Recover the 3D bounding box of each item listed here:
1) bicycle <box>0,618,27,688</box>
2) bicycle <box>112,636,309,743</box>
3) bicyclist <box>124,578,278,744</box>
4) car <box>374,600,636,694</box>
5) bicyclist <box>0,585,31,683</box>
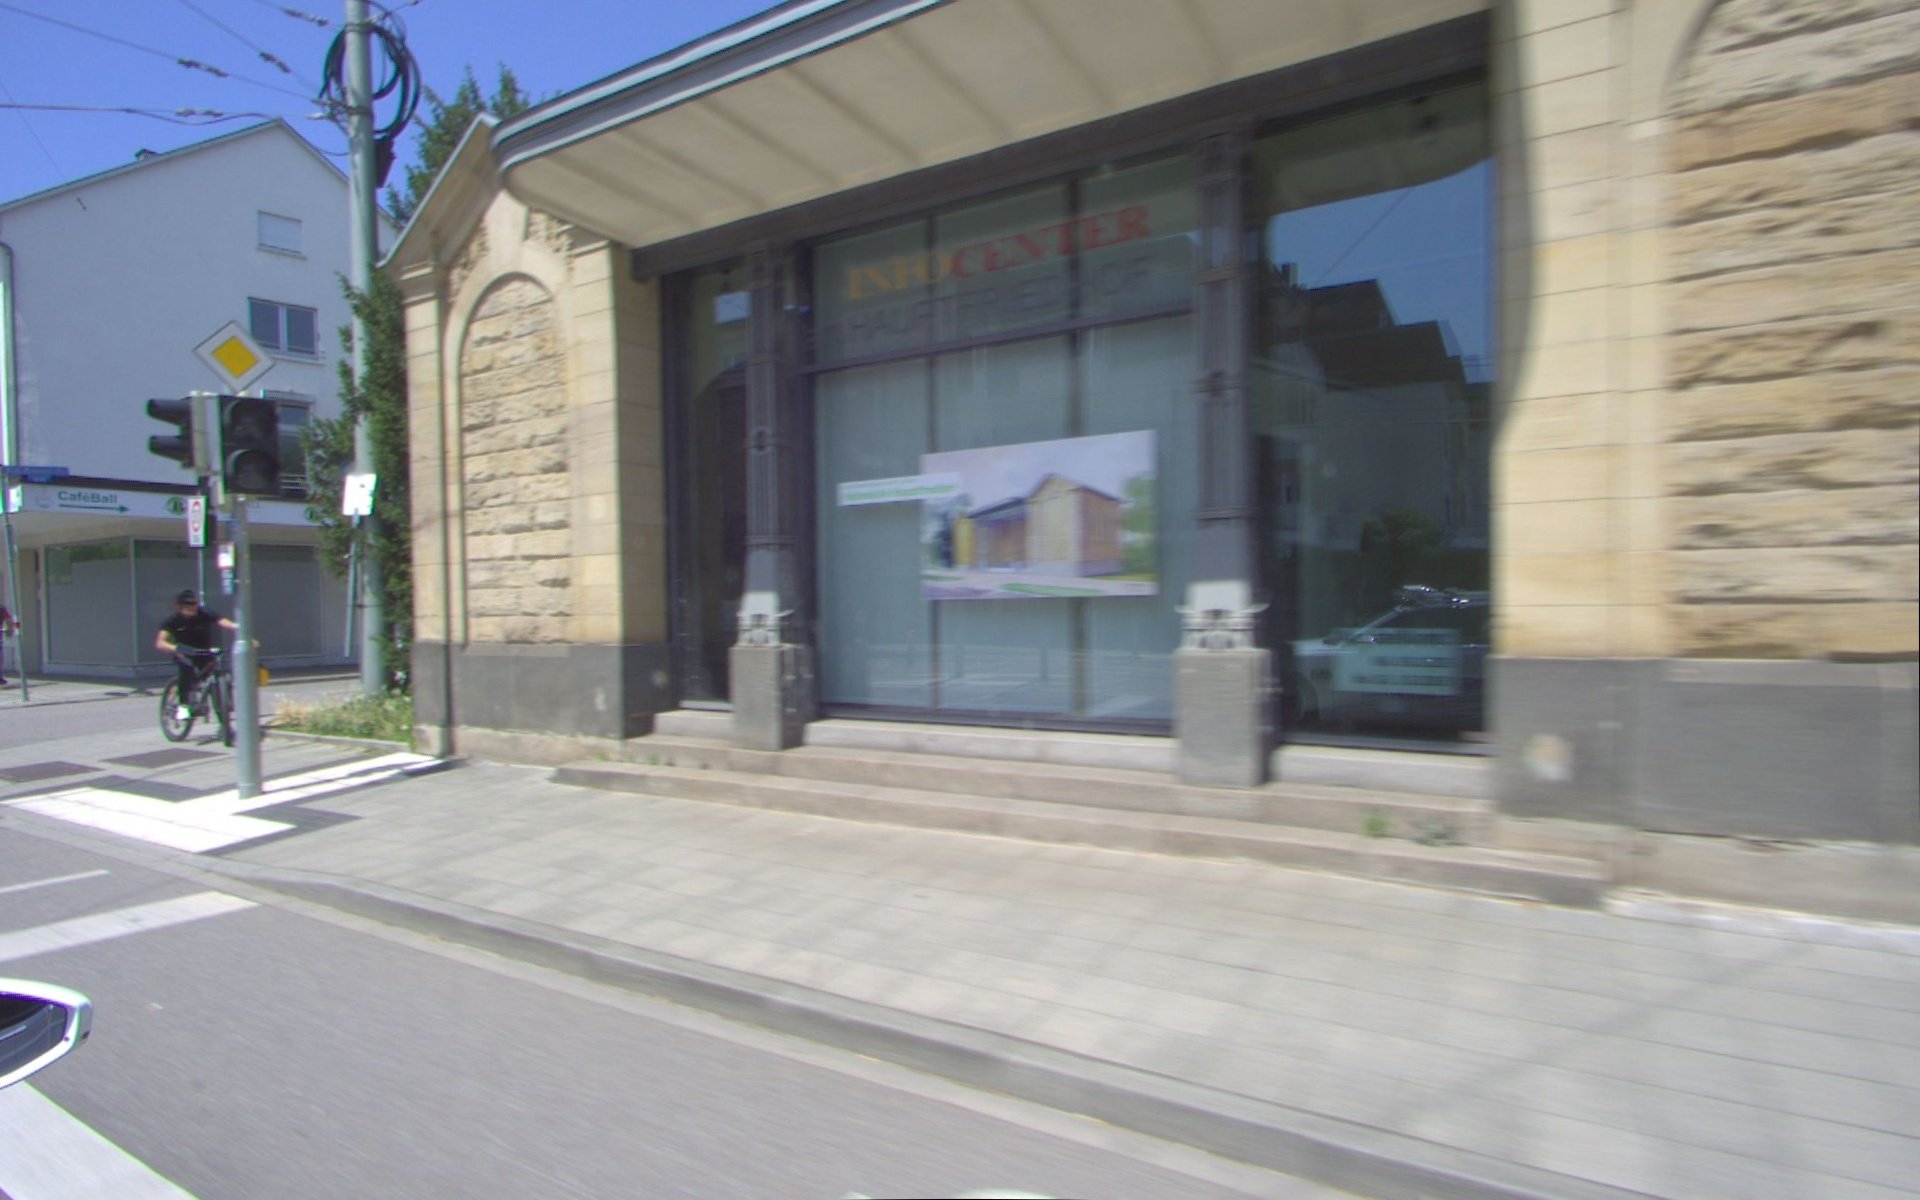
[{"bbox_3d":[-17.746,0.958,18.537,0.371,1.213,1.892,-2,1,-34],"label":"bicycle"},{"bbox_3d":[-7.967,0.937,10.654,1.830,1.017,0.668,-2,5,19],"label":"bicycle"},{"bbox_3d":[-8.028,0.627,10.624,0.845,1.641,0.832,-1,5,18],"label":"bicyclist"},{"bbox_3d":[-8.206,0.766,18.450,1.685,1.451,4.220,2,1,30],"label":"car"},{"bbox_3d":[-17.915,0.621,18.633,0.720,1.784,0.918,-2,2,-34],"label":"bicyclist"}]
